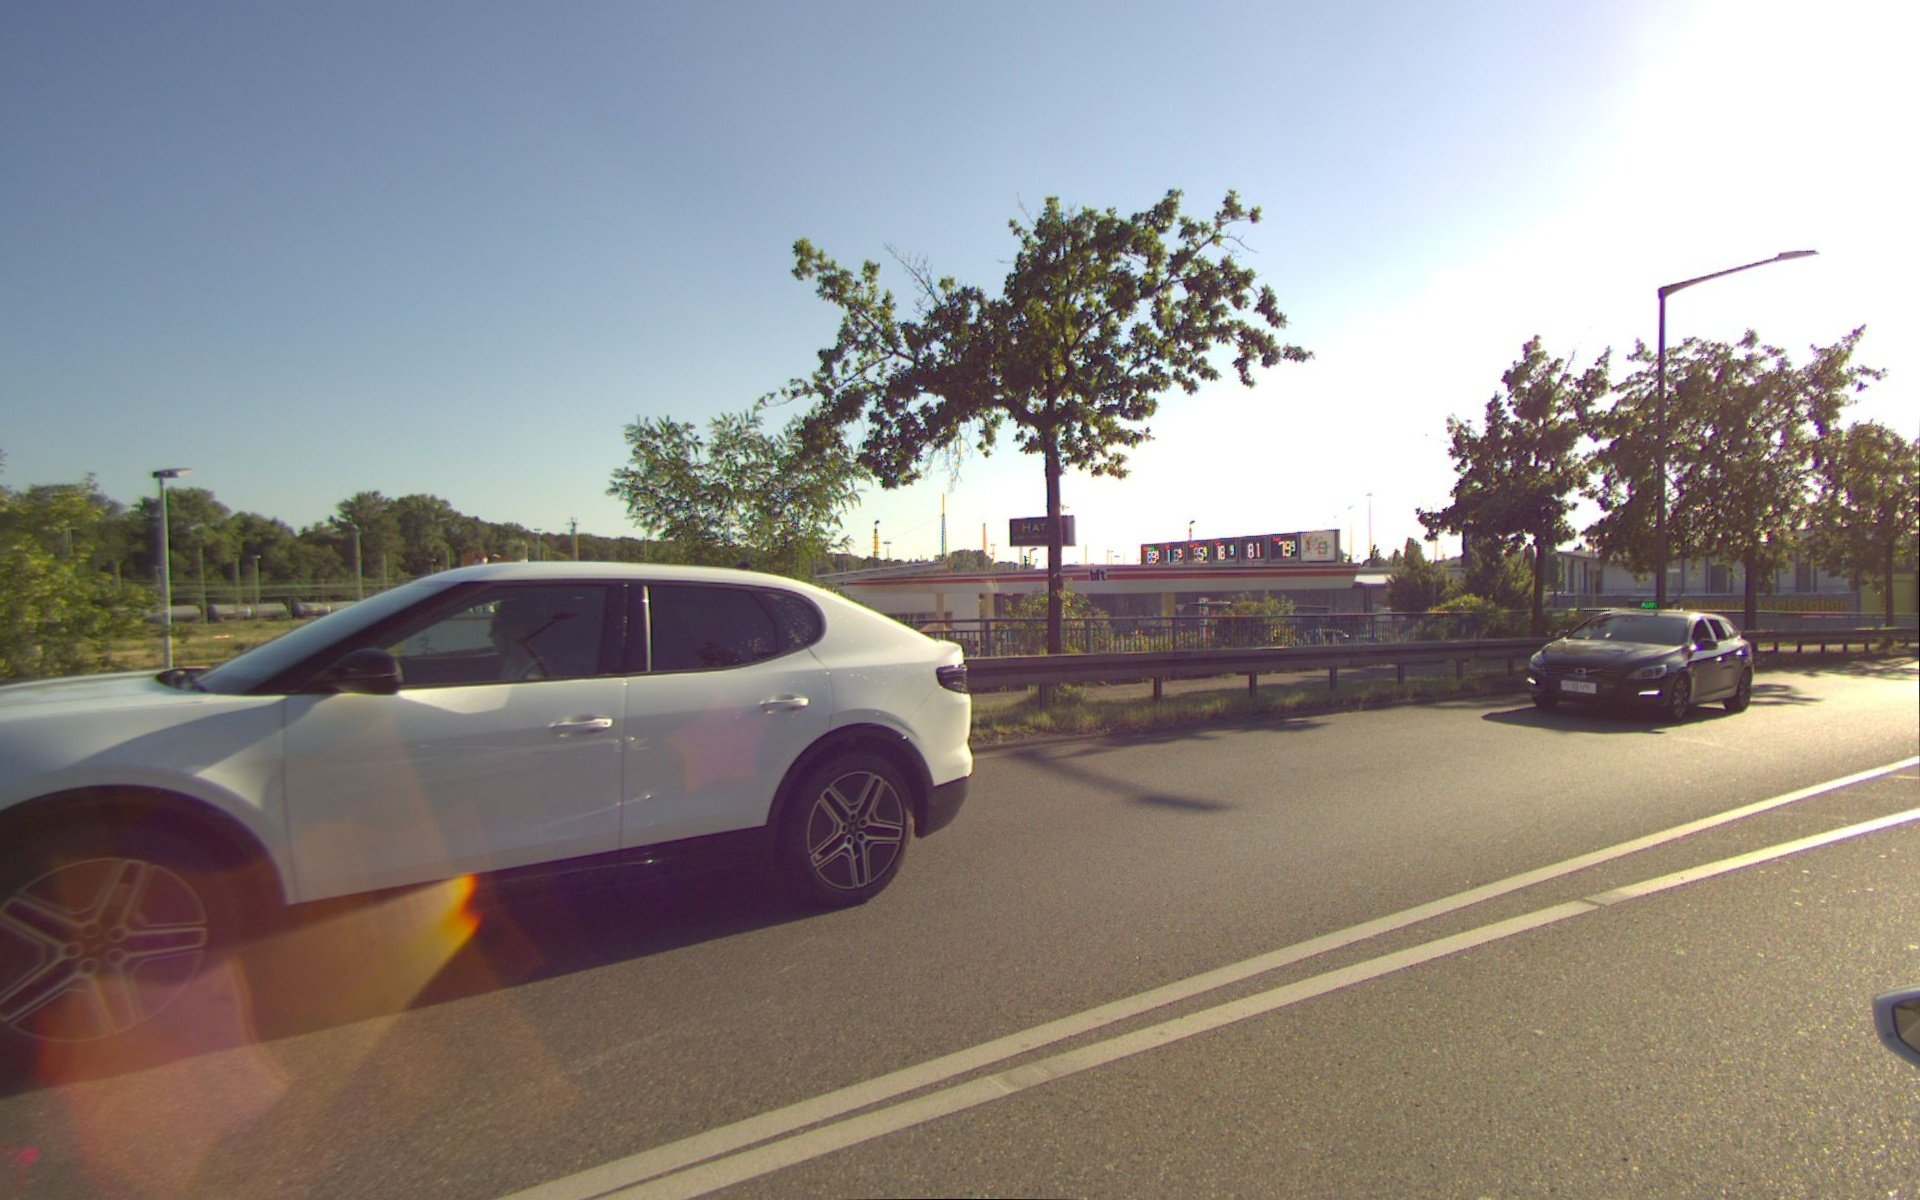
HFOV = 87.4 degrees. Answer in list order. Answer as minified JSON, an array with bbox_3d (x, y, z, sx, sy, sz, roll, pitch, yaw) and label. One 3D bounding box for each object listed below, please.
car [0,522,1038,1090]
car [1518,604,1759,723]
[{"bbox_3d":[-1.942,0.606,4.637,4.608,1.610,1.813,1,0,-39],"label":"car"},{"bbox_3d":[10.075,0.832,14.797,4.346,1.485,1.758,1,0,-39],"label":"car"}]
